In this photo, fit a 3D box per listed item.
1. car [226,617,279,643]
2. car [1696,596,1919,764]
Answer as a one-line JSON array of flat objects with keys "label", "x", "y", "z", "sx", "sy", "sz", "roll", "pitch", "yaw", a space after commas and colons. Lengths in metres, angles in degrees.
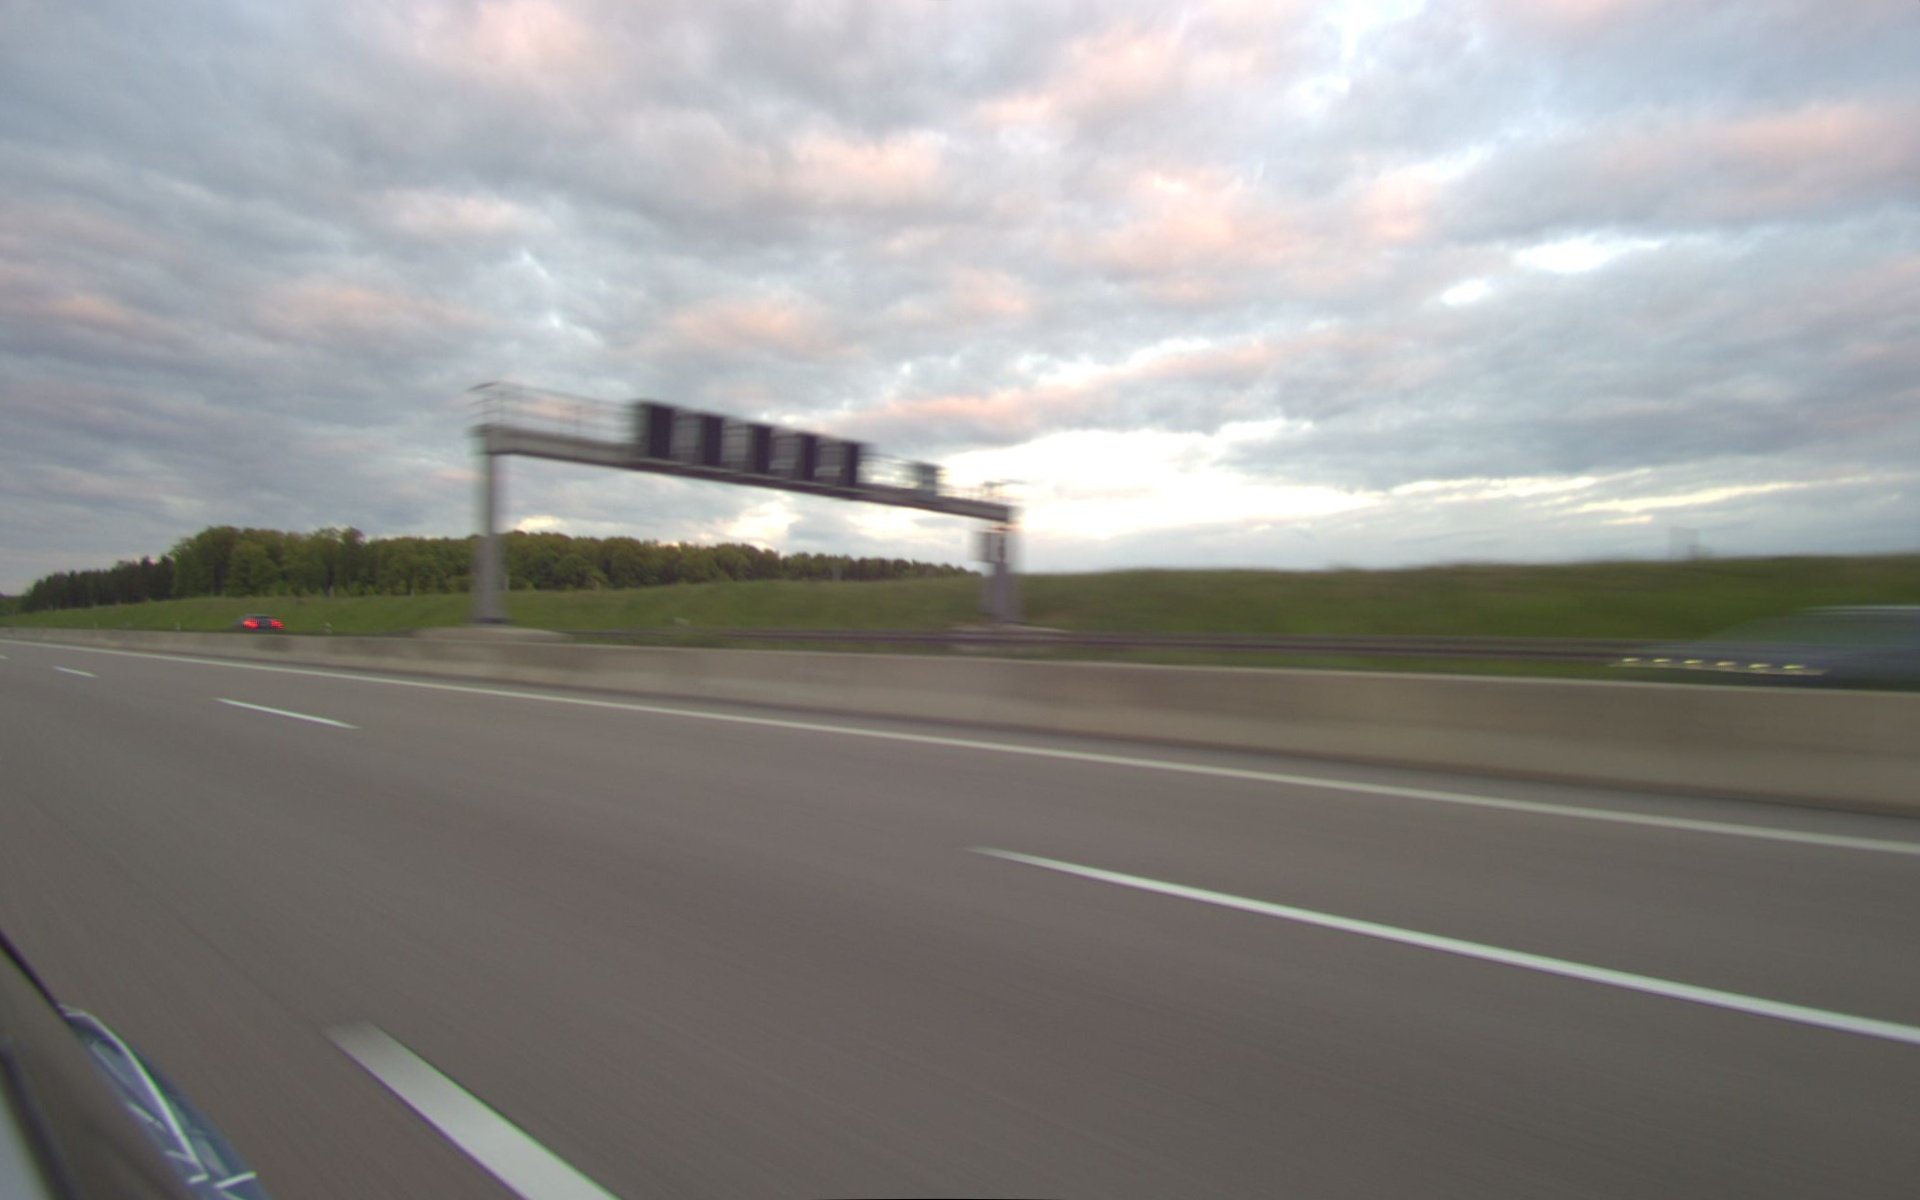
[{"label": "car", "x": -51.878, "y": 2.160, "z": 74.207, "sx": 5.085, "sy": 1.841, "sz": 1.973, "roll": -1, "pitch": -1, "yaw": 41}, {"label": "car", "x": 12.495, "y": 0.964, "z": 12.880, "sx": 4.901, "sy": 2.029, "sz": 1.973, "roll": -1, "pitch": 0, "yaw": 41}]
